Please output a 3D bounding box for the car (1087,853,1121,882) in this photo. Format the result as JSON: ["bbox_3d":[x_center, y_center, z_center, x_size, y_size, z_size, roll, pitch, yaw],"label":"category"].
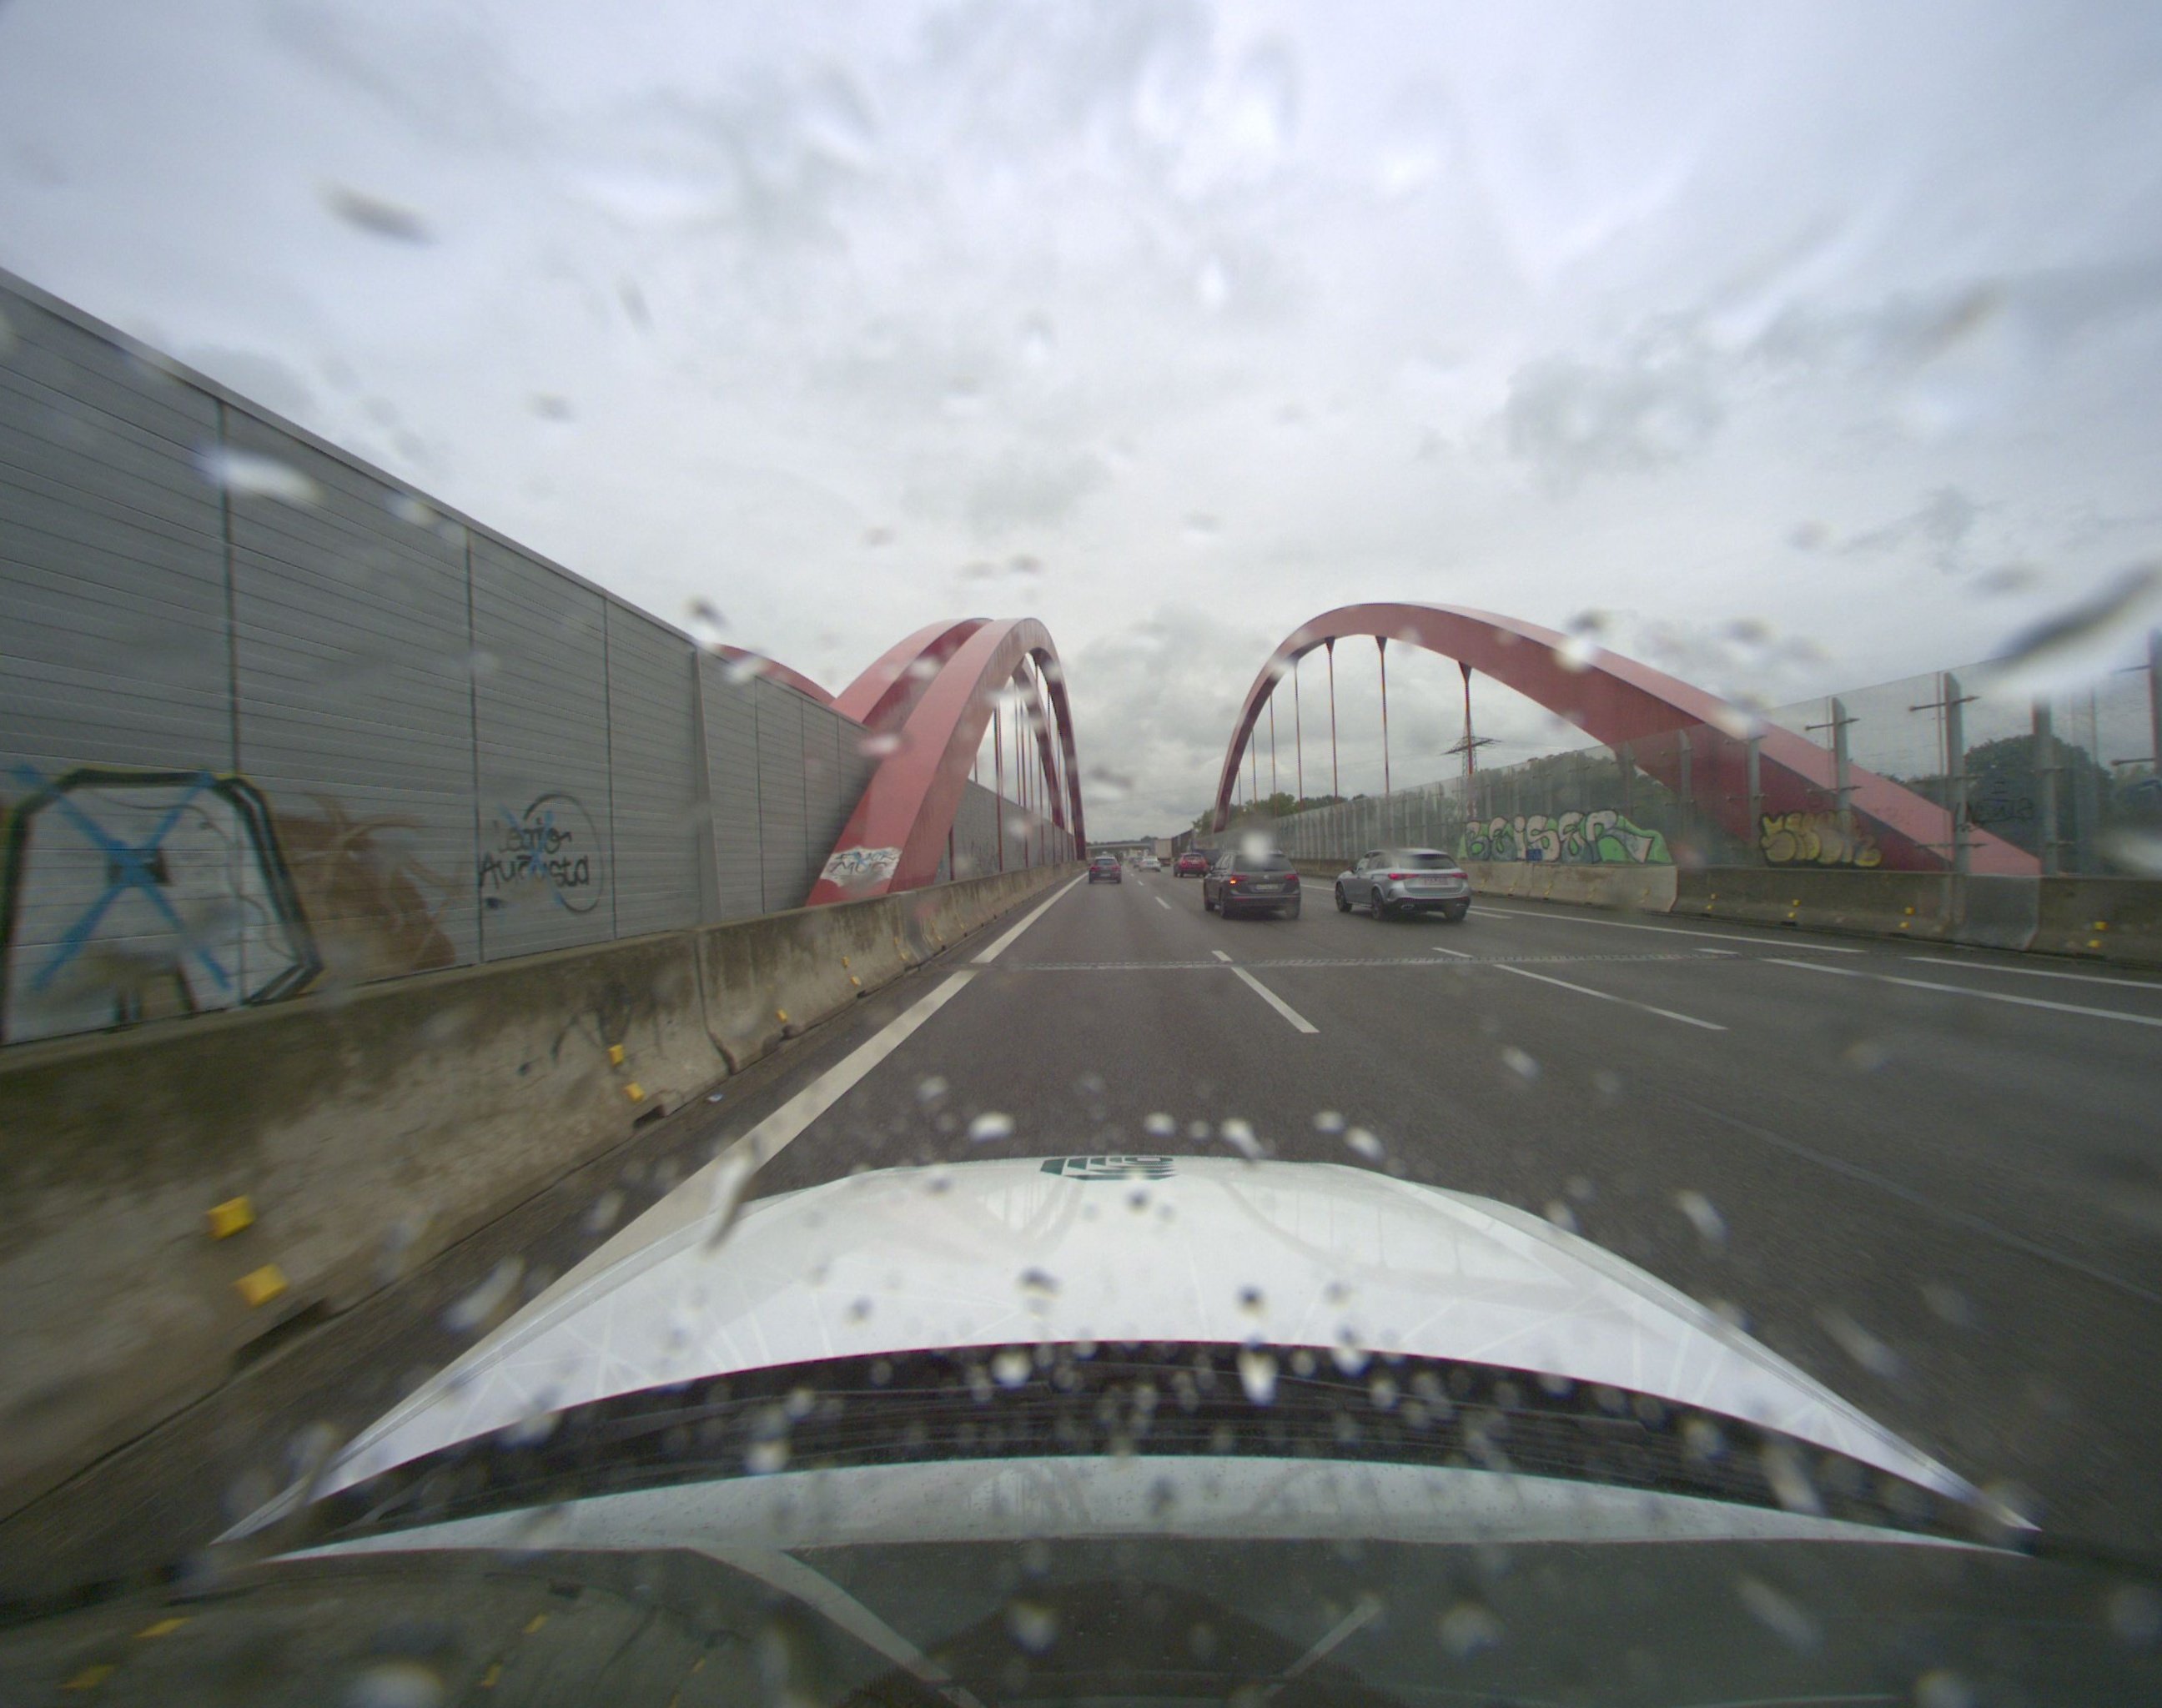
[{"bbox_3d":[1.278,0.711,44.291,1.757,1.453,4.002,-1,0,2],"label":"car"}]

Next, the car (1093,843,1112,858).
[{"bbox_3d":[2.395,-0.395,92.583,1.987,1.585,4.000,-2,0,0],"label":"car"}]

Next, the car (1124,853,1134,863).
[{"bbox_3d":[9.603,0.812,163.090,1.986,2.014,4.001,0,0,1],"label":"car"}]

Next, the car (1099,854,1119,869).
[{"bbox_3d":[2.679,0.707,78.205,1.775,1.406,3.626,-1,0,1],"label":"car"}]

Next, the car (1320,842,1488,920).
[{"bbox_3d":[7.500,0.576,19.611,1.987,1.619,5.328,0,0,1],"label":"car"}]

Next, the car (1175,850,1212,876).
[{"bbox_3d":[7.434,0.607,54.272,1.950,1.647,4.000,-1,0,1],"label":"car"}]

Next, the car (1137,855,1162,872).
[{"bbox_3d":[6.175,0.842,73.734,1.987,1.486,4.000,-1,0,1],"label":"car"}]

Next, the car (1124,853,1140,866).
[{"bbox_3d":[6.319,0.659,101.132,1.697,1.543,3.837,-1,0,-1],"label":"car"}]

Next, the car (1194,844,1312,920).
[{"bbox_3d":[4.106,0.627,20.161,1.907,1.670,4.100,-1,0,-2],"label":"car"}]

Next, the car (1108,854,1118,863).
[{"bbox_3d":[6.325,0.891,160.653,1.986,1.815,4.001,-1,0,1],"label":"car"}]

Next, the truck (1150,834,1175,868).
[{"bbox_3d":[11.985,-0.424,120.328,3.033,4.734,7.682,0,0,2],"label":"truck"}]

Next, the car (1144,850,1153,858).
[{"bbox_3d":[14.689,0.022,177.262,1.985,1.519,4.003,-1,0,3],"label":"car"}]

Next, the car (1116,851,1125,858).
[{"bbox_3d":[9.623,0.093,198.185,1.985,1.624,4.004,-1,0,4],"label":"car"}]

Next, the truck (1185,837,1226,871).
[{"bbox_3d":[9.657,0.026,63.602,2.352,2.506,6.146,-1,0,2],"label":"truck"}]
